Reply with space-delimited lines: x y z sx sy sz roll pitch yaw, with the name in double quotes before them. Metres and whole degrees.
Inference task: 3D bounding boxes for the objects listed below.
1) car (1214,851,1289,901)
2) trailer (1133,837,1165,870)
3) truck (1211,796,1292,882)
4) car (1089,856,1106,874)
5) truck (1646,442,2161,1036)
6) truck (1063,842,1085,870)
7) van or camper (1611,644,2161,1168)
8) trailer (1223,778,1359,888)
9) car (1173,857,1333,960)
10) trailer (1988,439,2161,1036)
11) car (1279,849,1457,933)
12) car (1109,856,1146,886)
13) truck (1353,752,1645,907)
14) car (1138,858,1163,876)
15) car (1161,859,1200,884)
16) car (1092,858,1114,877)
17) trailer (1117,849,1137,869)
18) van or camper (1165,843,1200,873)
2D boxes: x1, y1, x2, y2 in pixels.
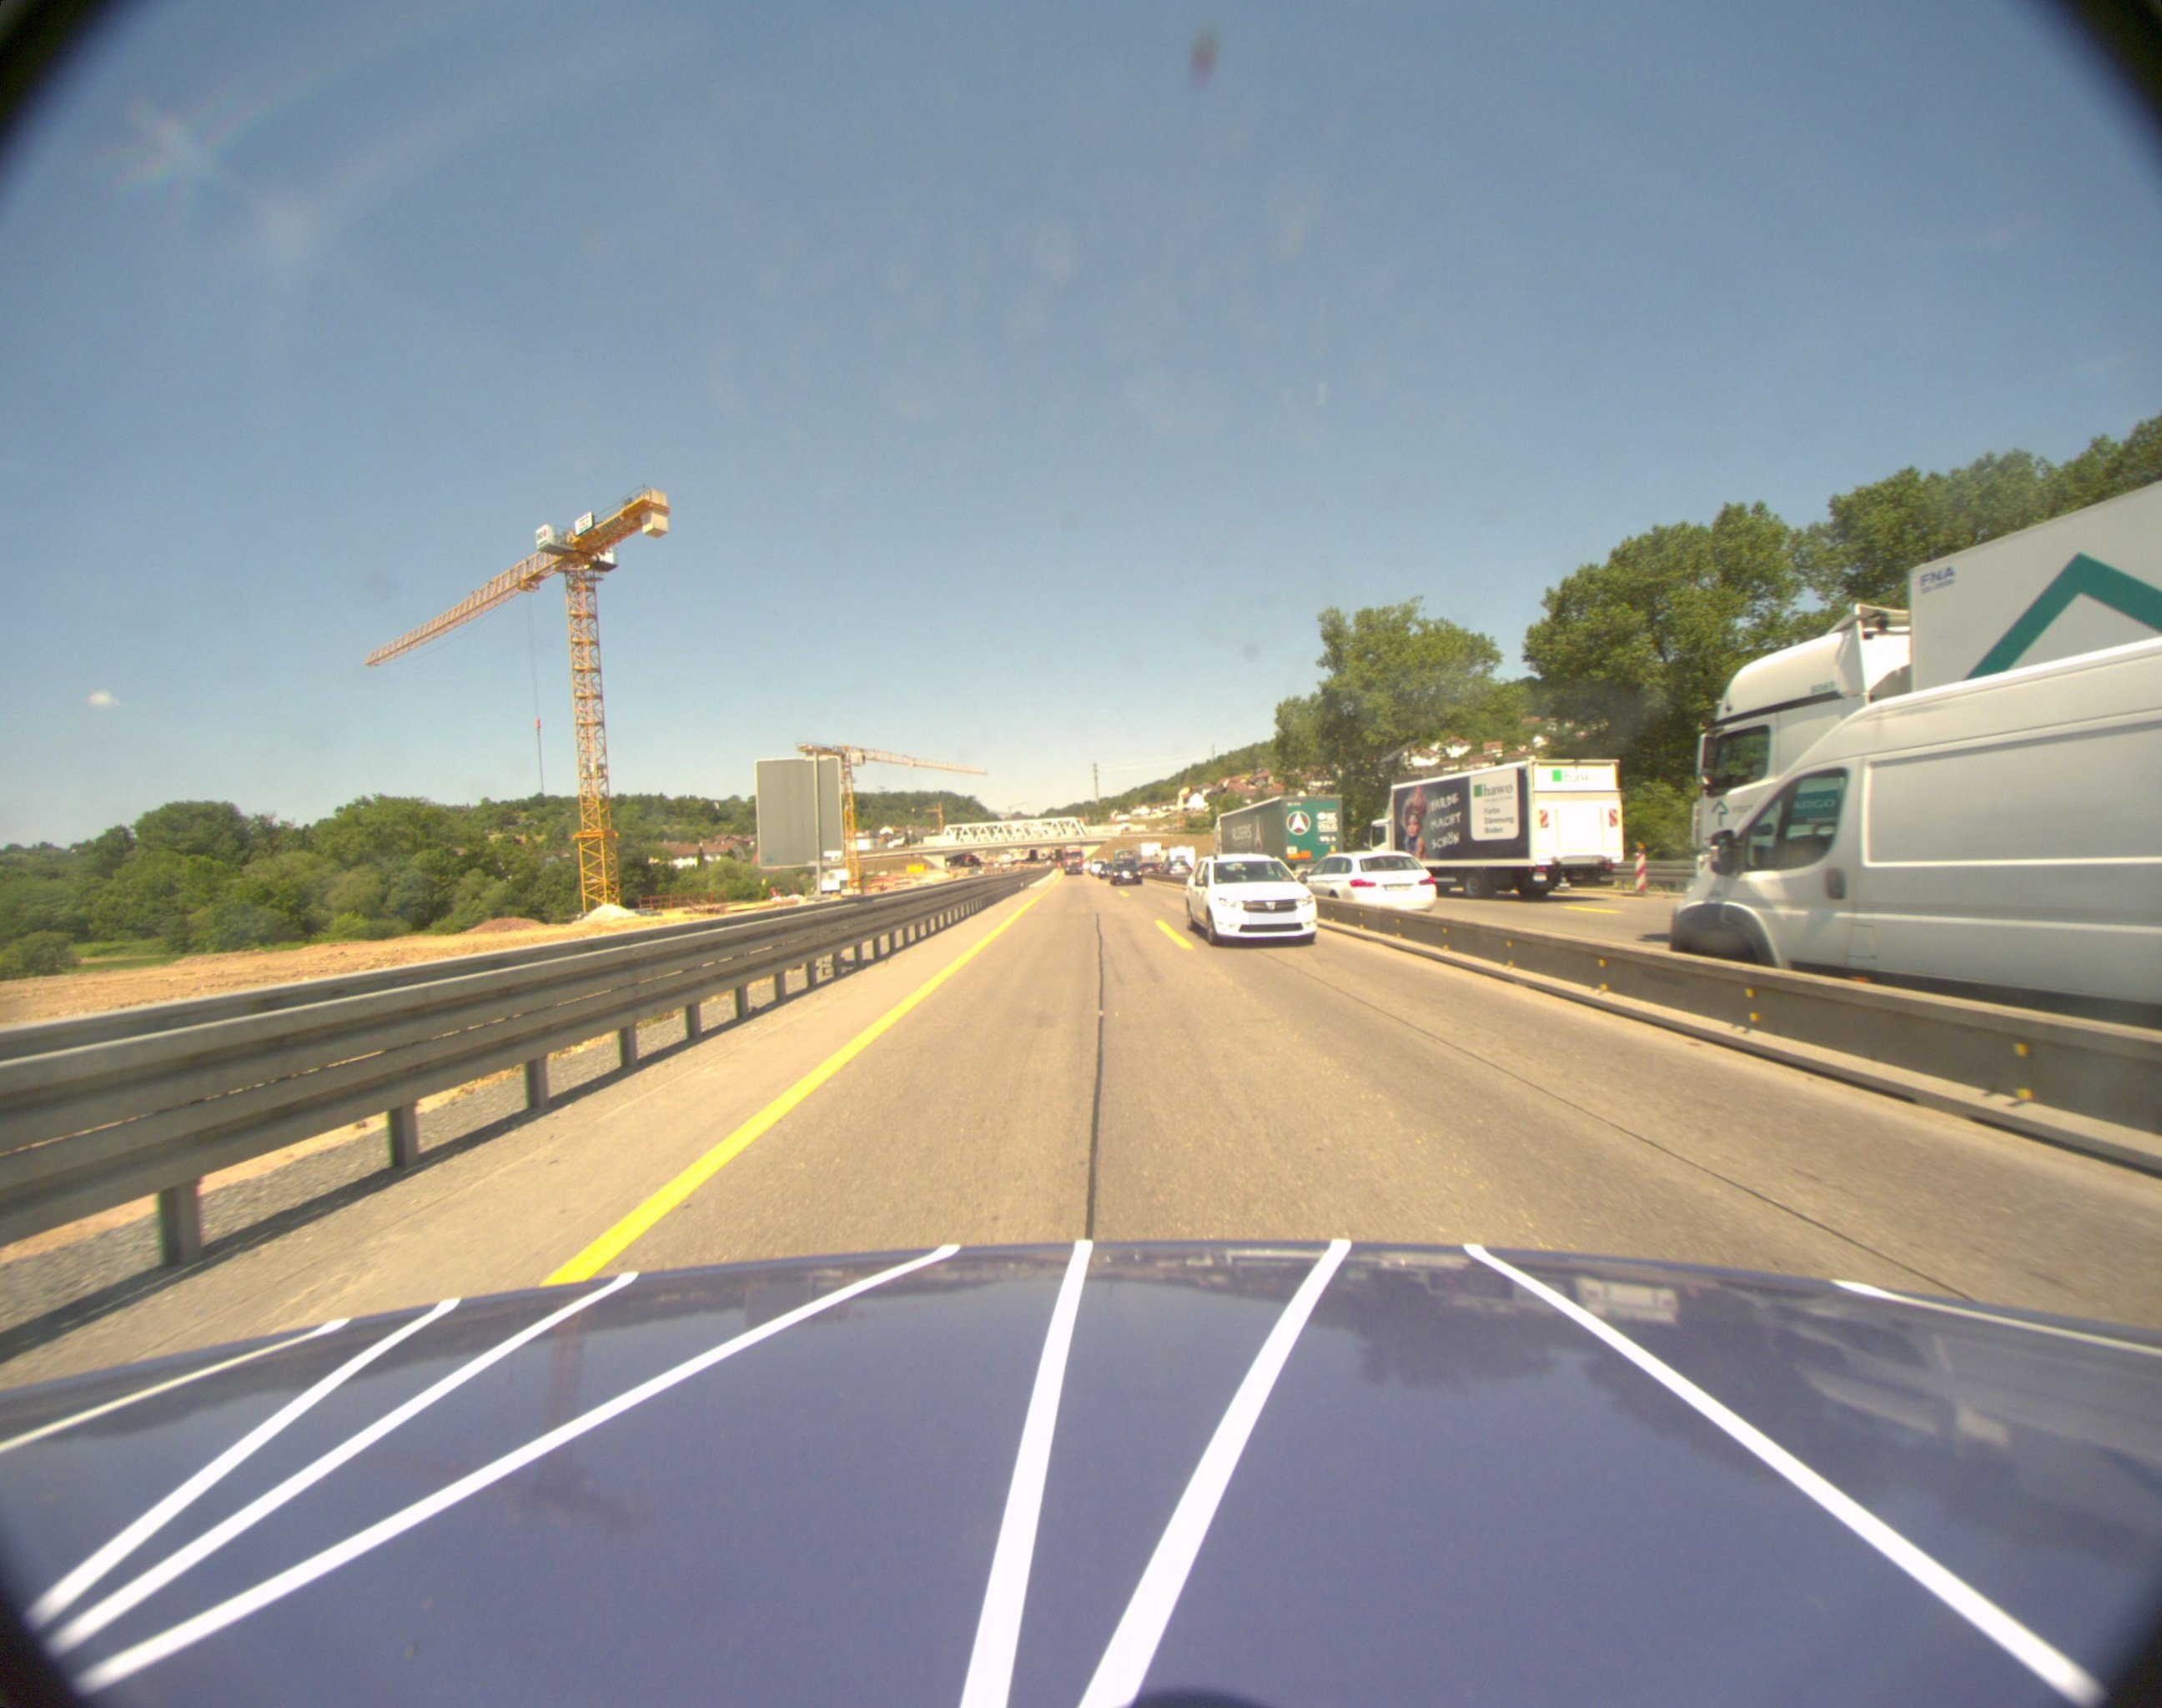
"car" 6.425 0.801 29.069 1.761 1.637 4.155 -4 -1 -1
"trailer" 9.021 0.027 102.322 2.814 4.151 11.798 -2 -1 -1
"truck" 9.851 -0.781 44.751 3.085 4.510 7.103 -2 0 1
"car" 1.856 1.295 88.133 1.791 1.870 4.000 -4 -1 0
"truck" 9.400 -0.858 7.560 2.813 4.366 6.225 -2 0 0
"truck" -0.951 0.243 107.486 2.702 3.705 8.507 -2 0 1
"van or camper" 6.234 0.205 3.965 2.224 2.496 6.533 -3 -1 0
"trailer" 9.832 -0.790 37.664 3.109 4.438 13.020 -1 -1 0
"car" 2.944 0.862 14.103 1.823 1.521 4.706 -2 0 0
"trailer" 9.363 -0.844 0.103 2.822 4.404 13.166 -2 0 0
"car" 6.076 0.731 16.860 1.998 1.489 4.975 -3 -1 0
"car" 2.842 1.030 47.312 1.862 1.682 4.097 -3 -1 -2
"truck" 11.899 -0.539 22.973 2.914 3.742 8.361 -3 -1 -11
"car" 6.196 1.148 68.272 1.782 1.412 4.538 -4 -1 0
"car" 6.504 1.101 49.973 1.870 1.450 4.607 -4 -1 0
"car" 2.017 1.227 70.866 1.791 1.578 4.000 -4 -1 0
"trailer" 8.806 0.931 146.259 2.801 3.650 8.956 -3 -1 -2
"van or camper" 9.552 0.408 71.970 2.510 2.682 5.244 -2 0 1
